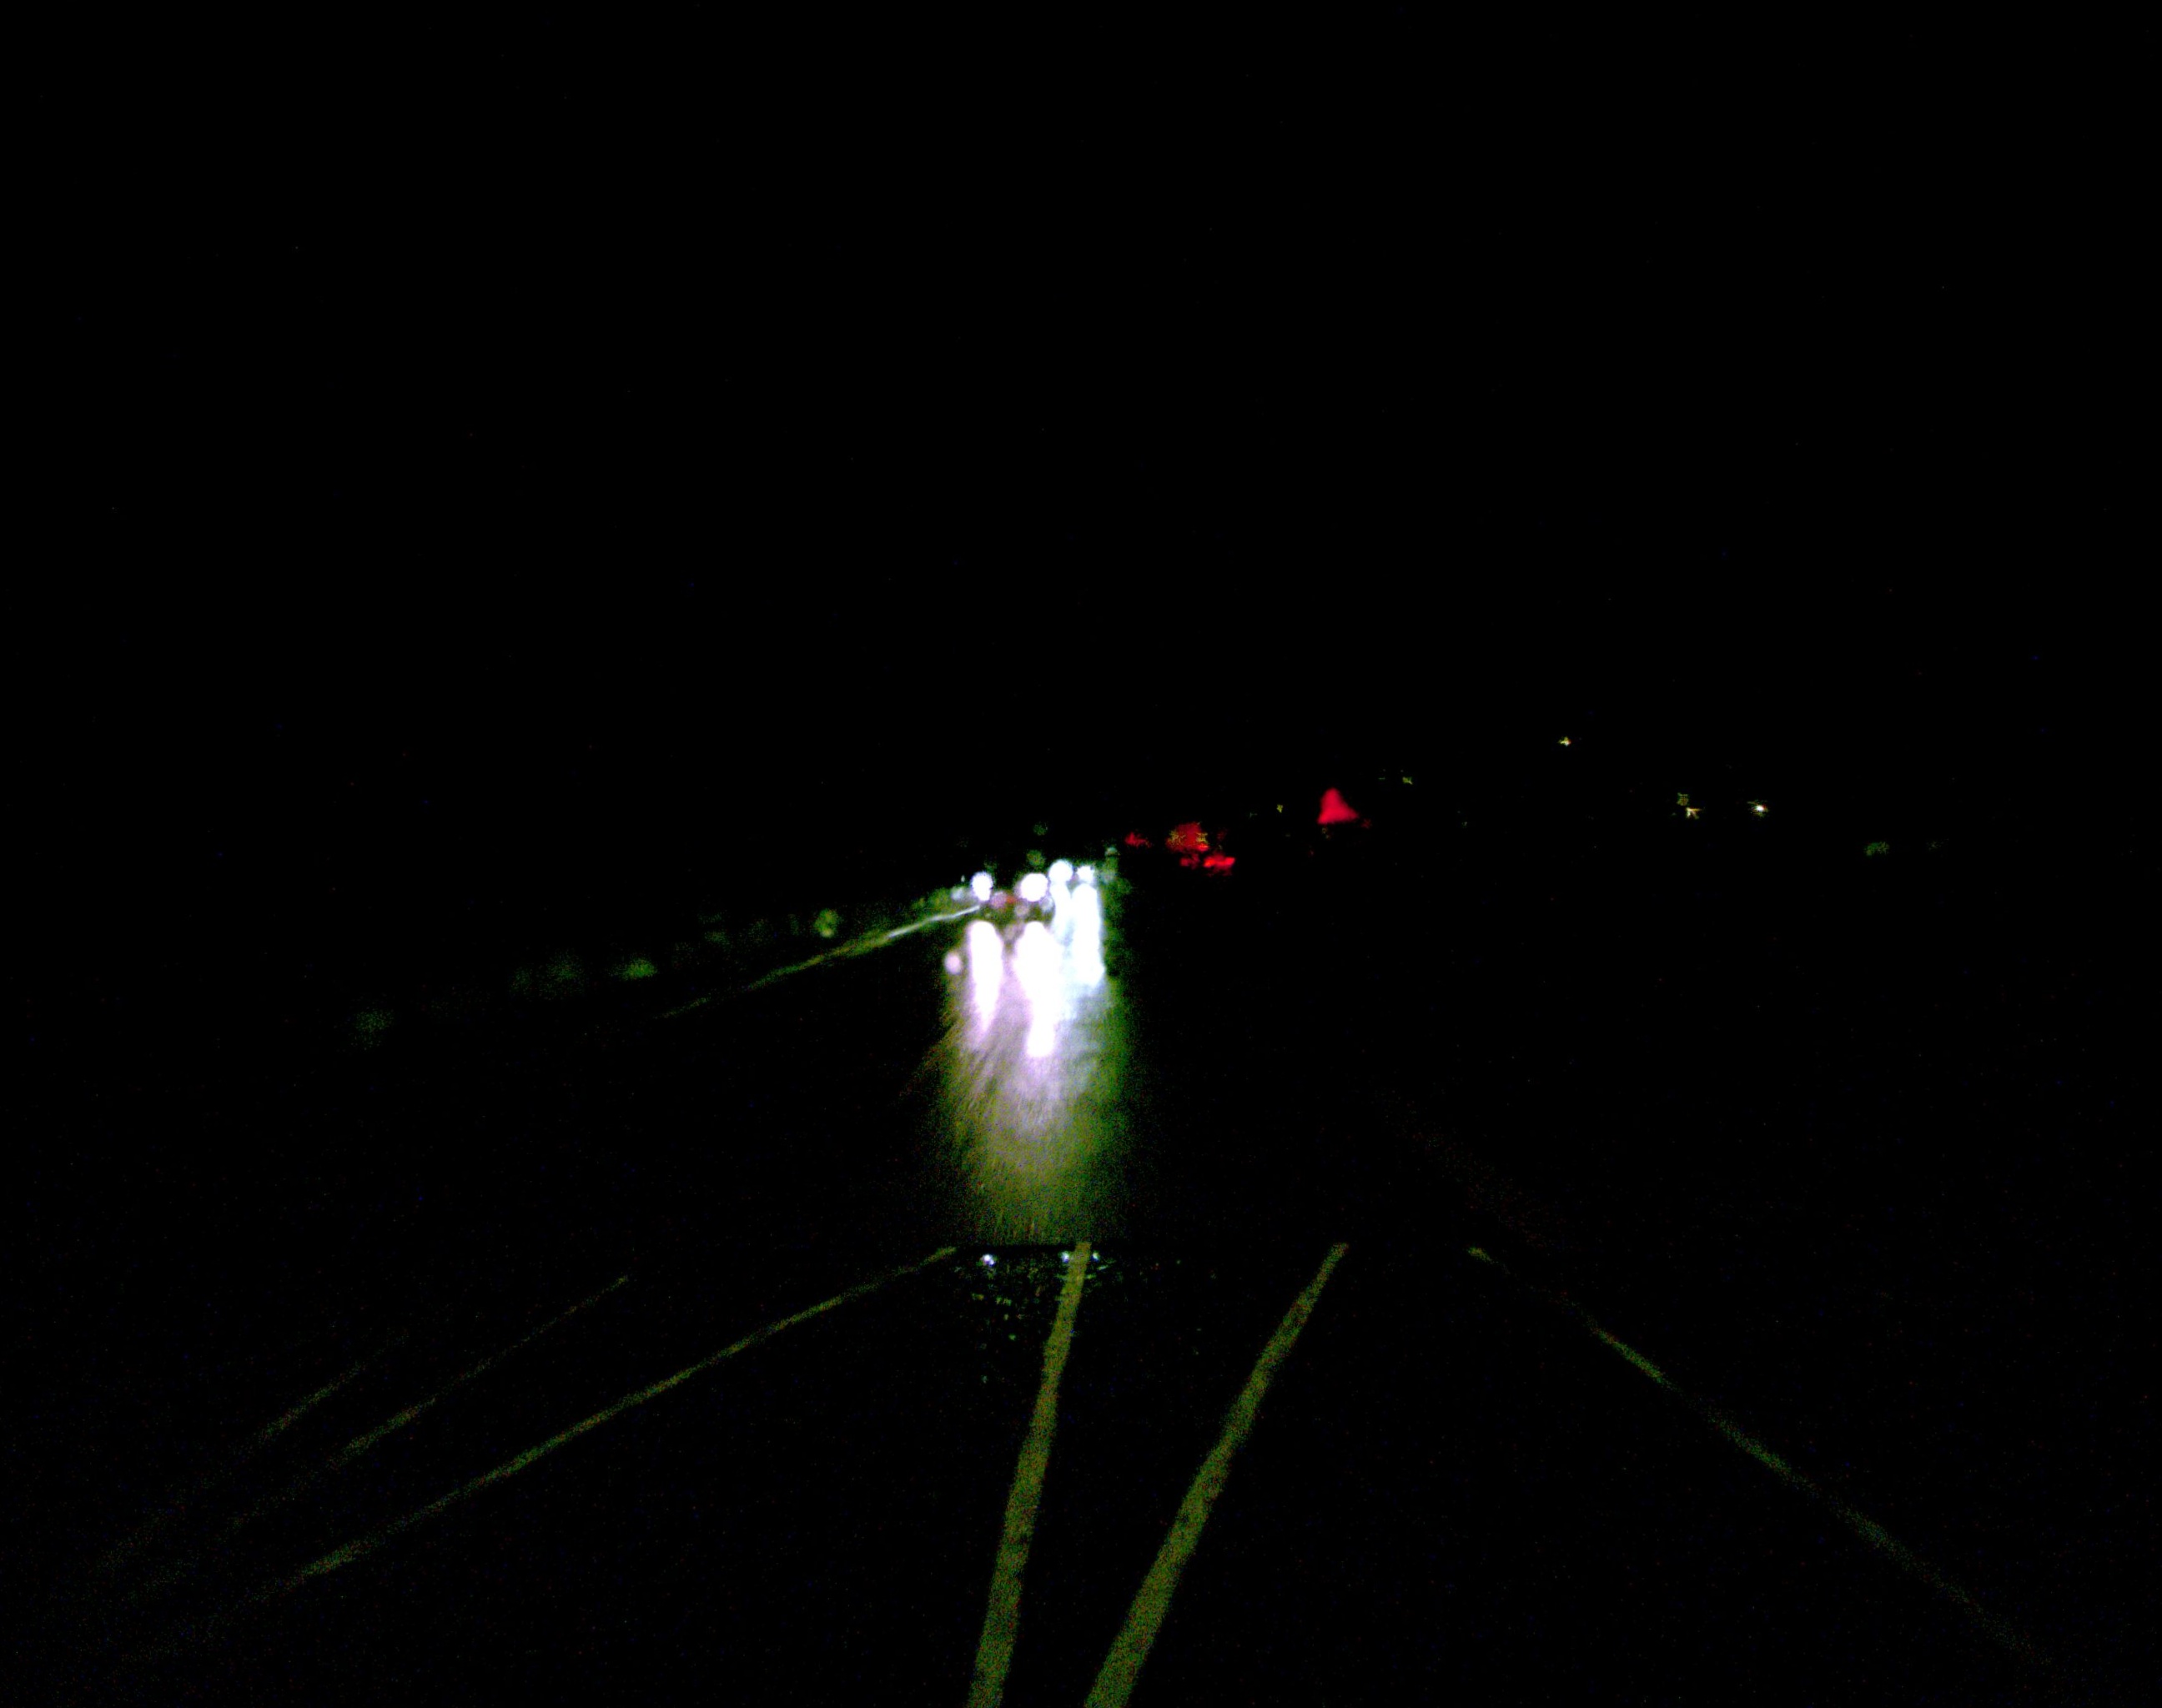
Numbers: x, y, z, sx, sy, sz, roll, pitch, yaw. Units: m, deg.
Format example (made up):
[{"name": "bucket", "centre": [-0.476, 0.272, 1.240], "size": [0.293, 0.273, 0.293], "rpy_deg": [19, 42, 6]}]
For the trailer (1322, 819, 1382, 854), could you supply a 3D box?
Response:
[{"name": "trailer", "centre": [41.225, -2.709, 116.381], "size": [3.980, 4.583, 15.514], "rpy_deg": [-6, 1, 3]}]

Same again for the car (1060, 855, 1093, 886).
[{"name": "car", "centre": [-0.282, 0.933, 44.979], "size": [1.788, 1.638, 4.435], "rpy_deg": [-3, 0, -1]}]

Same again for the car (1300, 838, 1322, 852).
[{"name": "car", "centre": [32.678, -1.262, 107.932], "size": [1.790, 1.684, 4.219], "rpy_deg": [-4, 0, 2]}]

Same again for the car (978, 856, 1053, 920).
[{"name": "car", "centre": [-1.886, 0.951, 23.095], "size": [1.790, 1.684, 4.219], "rpy_deg": [-2, 0, 1]}]

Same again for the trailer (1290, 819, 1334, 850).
[{"name": "trailer", "centre": [43.017, -3.626, 142.413], "size": [3.980, 4.984, 14.835], "rpy_deg": [-6, 1, 3]}]

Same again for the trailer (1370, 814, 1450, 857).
[{"name": "trailer", "centre": [40.490, -2.305, 94.374], "size": [3.980, 4.583, 14.247], "rpy_deg": [-6, 1, 3]}]

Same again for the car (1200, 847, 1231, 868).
[{"name": "car", "centre": [11.421, 0.267, 64.745], "size": [1.766, 1.632, 4.652], "rpy_deg": [-3, 0, 0]}]

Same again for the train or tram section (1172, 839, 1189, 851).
[{"name": "train or tram section", "centre": [34.520, -3.300, 264.722], "size": [2.702, 3.793, 37.145], "rpy_deg": [-6, 1, 3]}]

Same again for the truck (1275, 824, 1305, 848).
[{"name": "truck", "centre": [43.738, -3.740, 159.531], "size": [3.447, 4.583, 10.212], "rpy_deg": [-6, 1, 3]}]

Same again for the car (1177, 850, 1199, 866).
[{"name": "car", "centre": [11.896, 0.416, 84.509], "size": [1.806, 1.579, 4.030], "rpy_deg": [-3, 1, 1]}]
